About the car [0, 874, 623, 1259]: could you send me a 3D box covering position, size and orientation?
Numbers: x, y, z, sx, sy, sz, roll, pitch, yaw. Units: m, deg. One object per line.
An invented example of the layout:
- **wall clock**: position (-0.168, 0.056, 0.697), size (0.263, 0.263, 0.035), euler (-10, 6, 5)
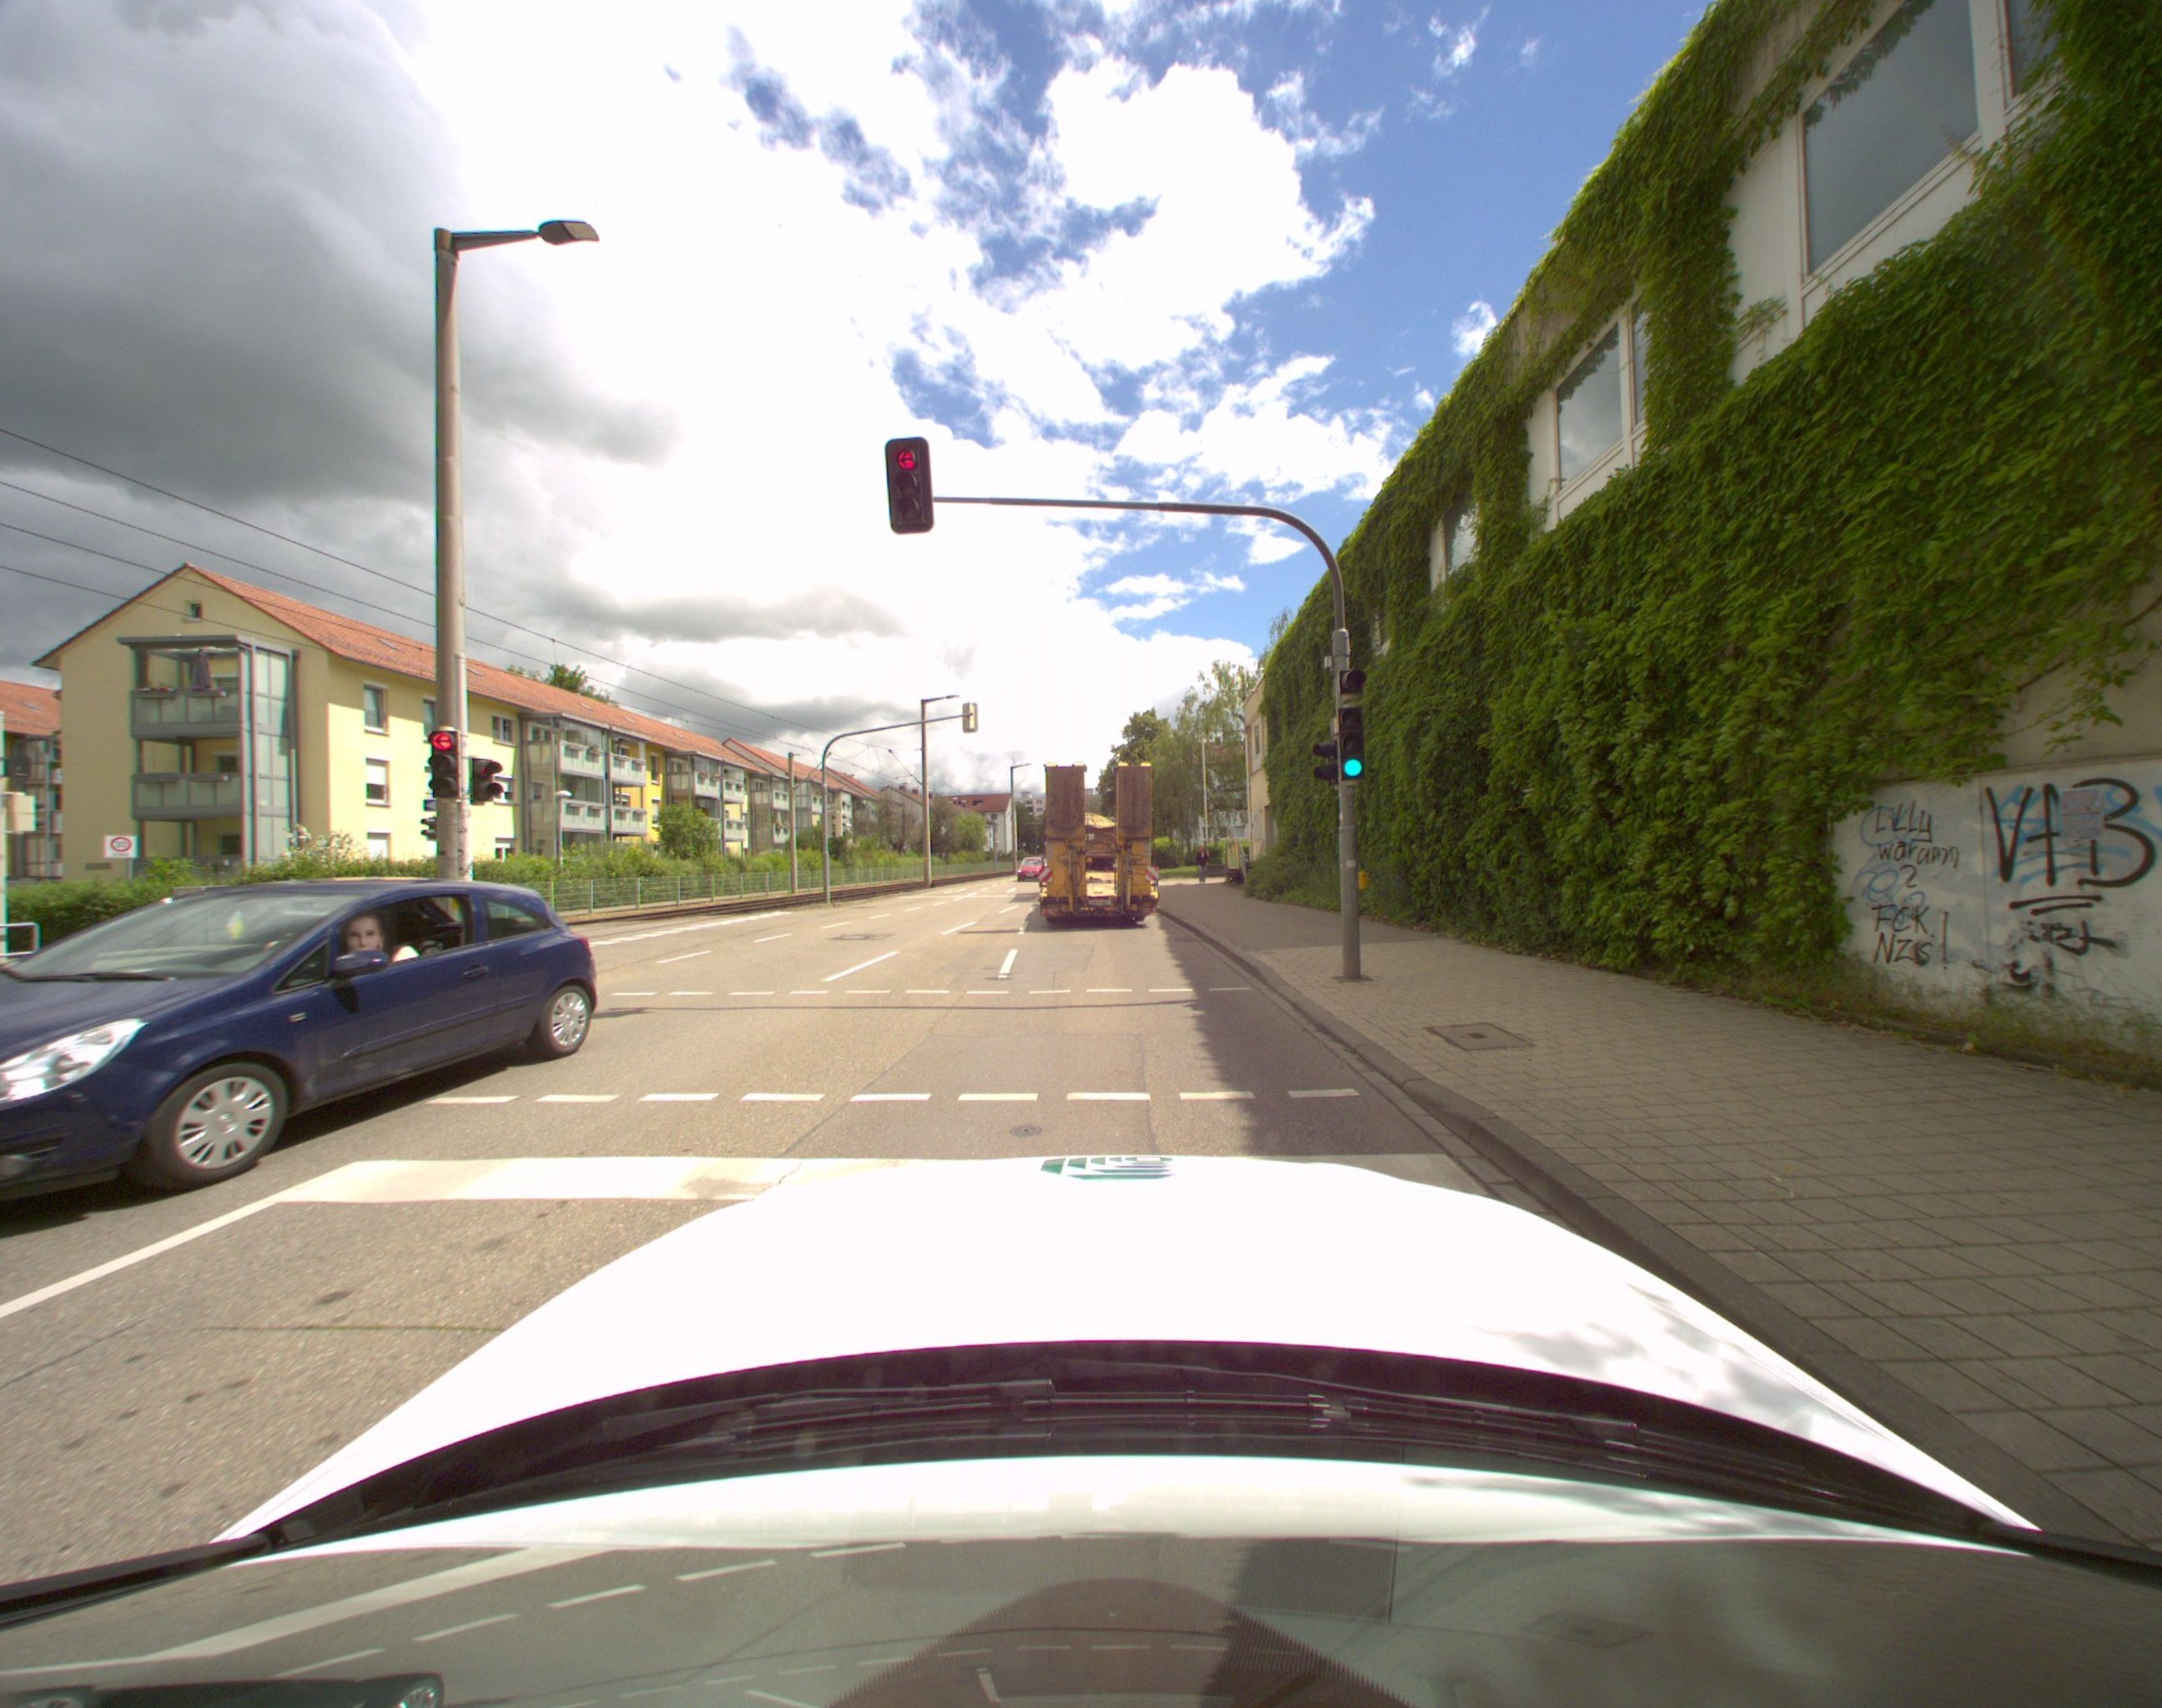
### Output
- **car**: position (-4.960, 0.889, 5.178), size (1.711, 1.441, 4.010), euler (-1, -1, 2)

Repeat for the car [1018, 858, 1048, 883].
- **car**: position (-3.166, 1.062, 54.025), size (1.657, 1.552, 4.001), euler (0, -1, 1)

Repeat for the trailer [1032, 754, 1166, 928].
- **trailer**: position (0.119, -0.218, 23.304), size (2.820, 3.646, 12.341), euler (0, -1, -3)

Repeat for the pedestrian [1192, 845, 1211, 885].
- **pedestrian**: position (5.352, 0.501, 36.181), size (0.804, 1.771, 0.818), euler (0, -1, 8)

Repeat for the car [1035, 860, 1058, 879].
- **car**: position (-2.925, 1.279, 69.361), size (1.754, 1.552, 3.999), euler (-1, -1, 0)
